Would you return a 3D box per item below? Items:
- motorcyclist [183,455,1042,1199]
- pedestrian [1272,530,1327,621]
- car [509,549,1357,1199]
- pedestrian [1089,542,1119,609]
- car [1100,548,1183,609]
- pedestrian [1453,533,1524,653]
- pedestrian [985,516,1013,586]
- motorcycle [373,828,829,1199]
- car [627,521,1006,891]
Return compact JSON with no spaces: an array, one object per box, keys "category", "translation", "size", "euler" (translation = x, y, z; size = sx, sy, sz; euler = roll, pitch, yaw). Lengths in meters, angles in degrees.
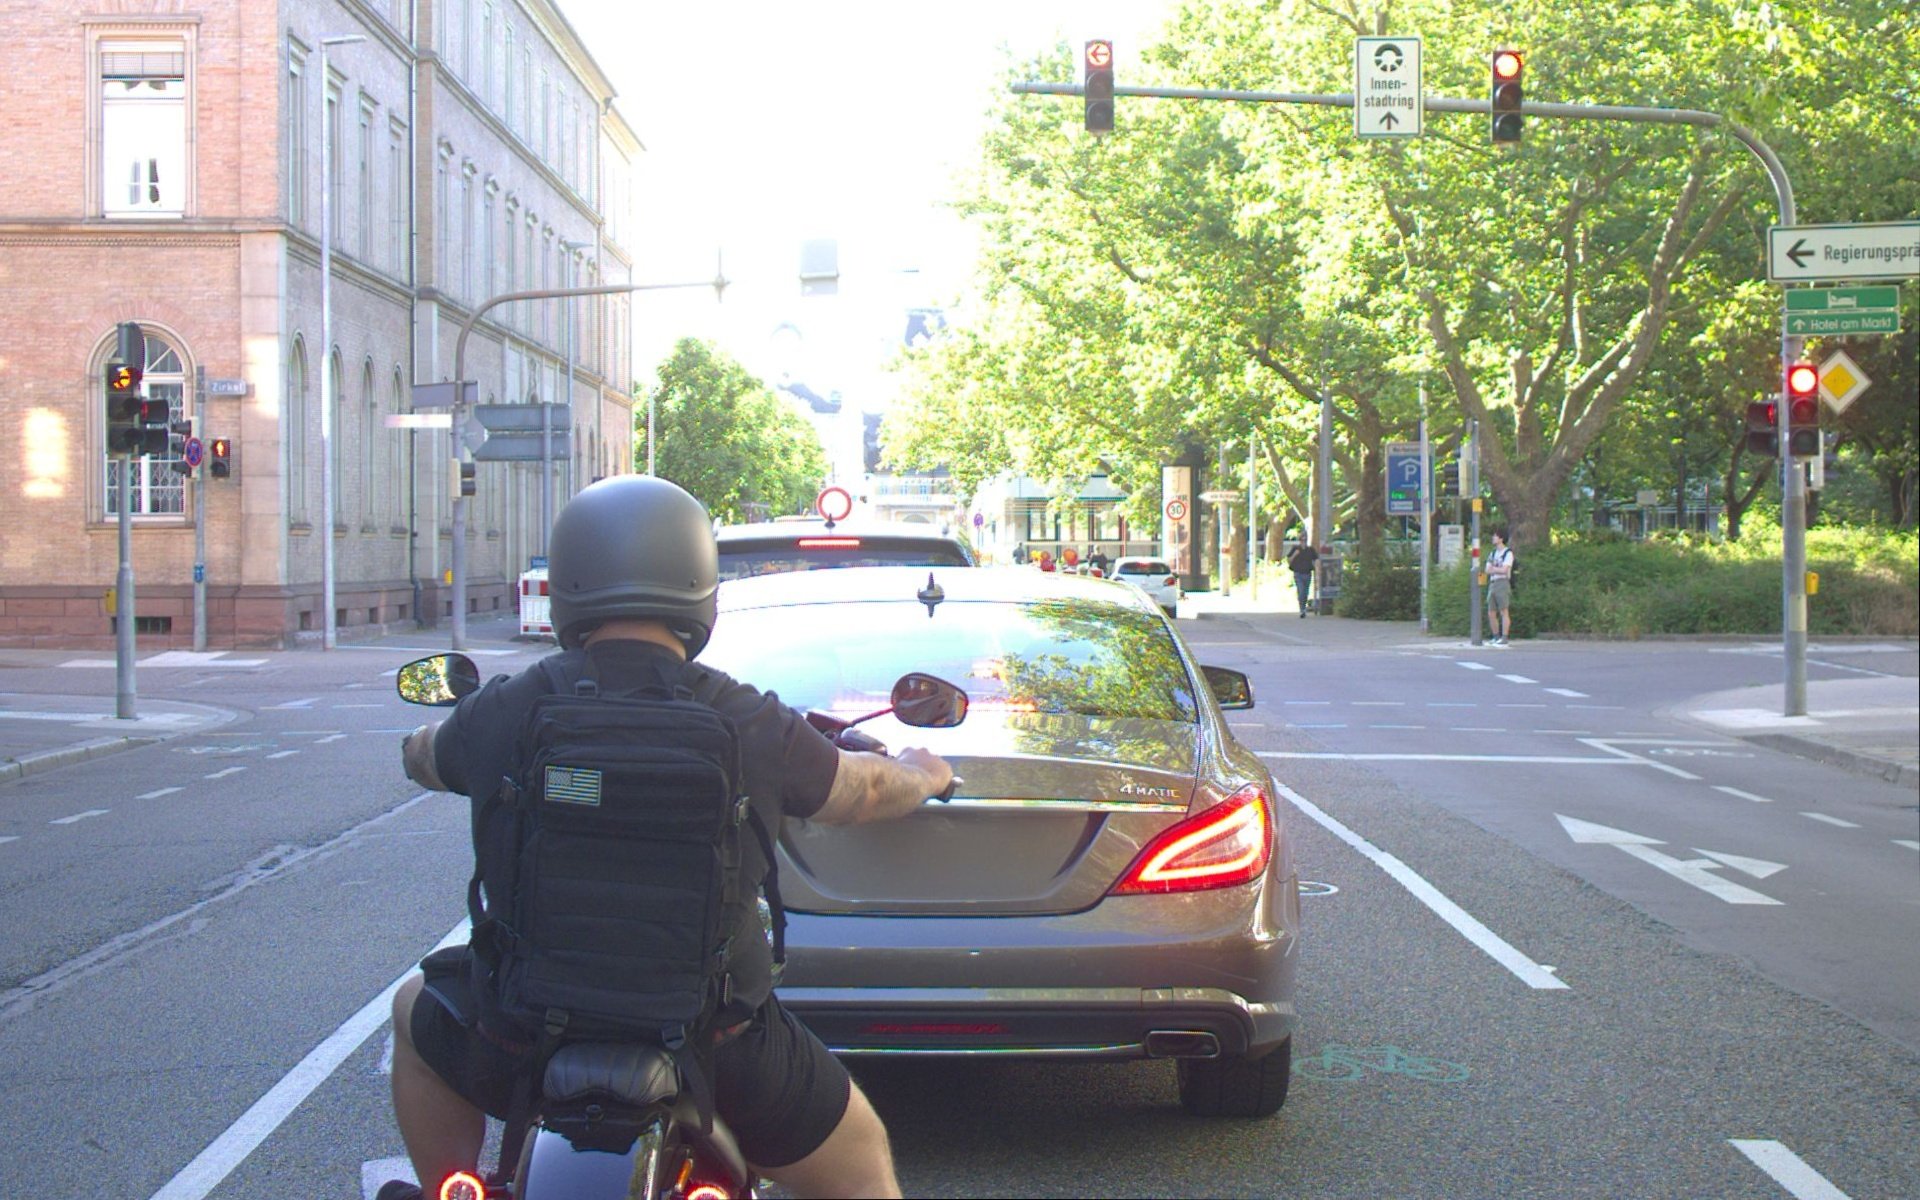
[{"category":"motorcyclist","translation":[-0.481,0.602,5.300],"size":[1.149,1.593,1.288],"euler":[1,0,-1]},{"category":"pedestrian","translation":[7.160,-0.512,72.571],"size":[0.749,1.903,0.926],"euler":[1,0,-28]},{"category":"car","translation":[-0.082,0.602,9.620],"size":[1.882,1.444,3.820],"euler":[1,1,-1]},{"category":"pedestrian","translation":[4.360,-0.737,104.339],"size":[0.814,2.007,1.271],"euler":[1,0,-1]},{"category":"car","translation":[4.386,-0.544,83.440],"size":[1.776,1.423,3.802],"euler":[0,1,-1]},{"category":"pedestrian","translation":[8.176,-0.111,53.213],"size":[1.002,1.820,1.076],"euler":[1,0,6]},{"category":"pedestrian","translation":[1.146,-1.442,100.841],"size":[0.764,2.044,0.712],"euler":[1,0,-1]},{"category":"motorcycle","translation":[-0.494,0.933,5.324],"size":[0.513,0.999,2.013],"euler":[1,1,-1]},{"category":"car","translation":[-0.636,0.418,16.736],"size":[1.621,1.588,4.000],"euler":[0,1,-1]}]
